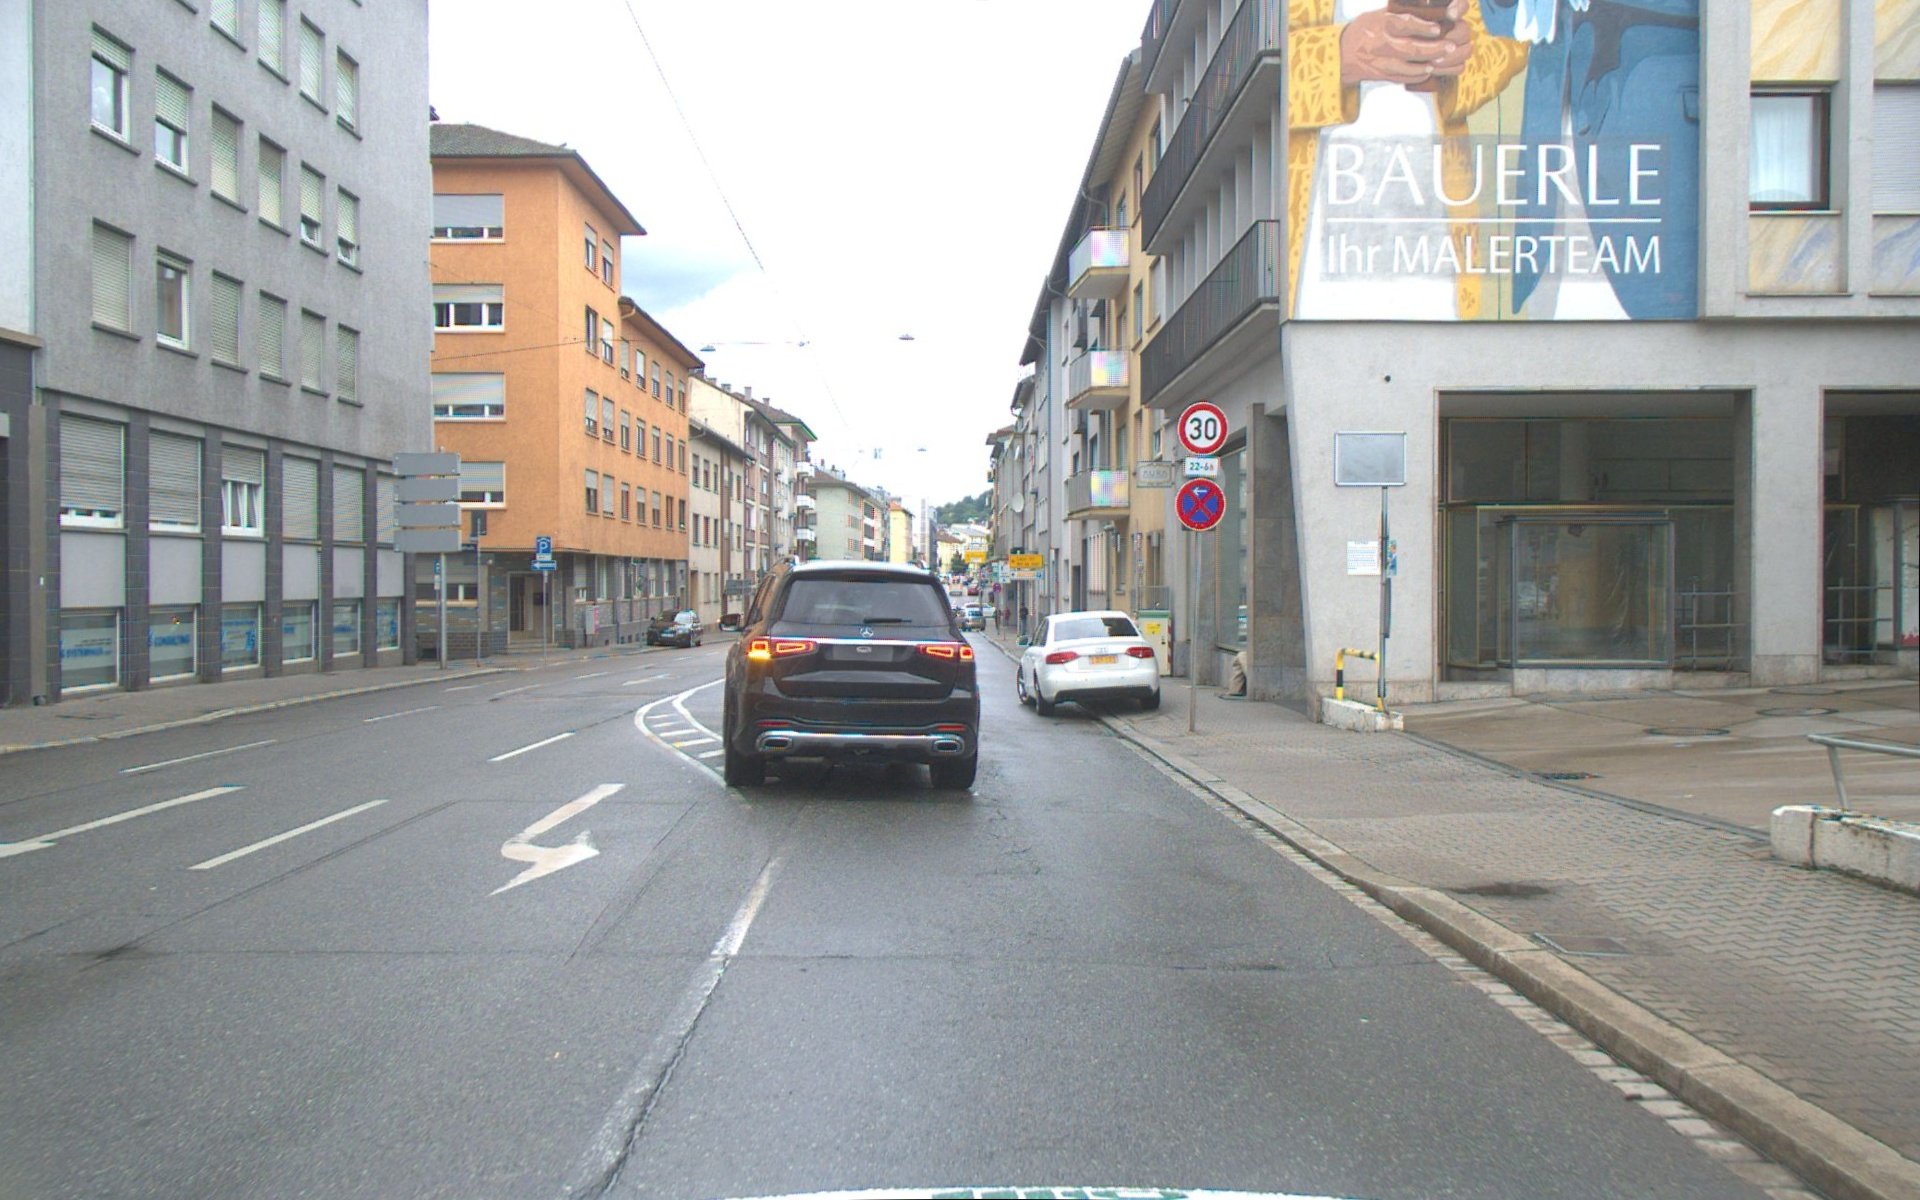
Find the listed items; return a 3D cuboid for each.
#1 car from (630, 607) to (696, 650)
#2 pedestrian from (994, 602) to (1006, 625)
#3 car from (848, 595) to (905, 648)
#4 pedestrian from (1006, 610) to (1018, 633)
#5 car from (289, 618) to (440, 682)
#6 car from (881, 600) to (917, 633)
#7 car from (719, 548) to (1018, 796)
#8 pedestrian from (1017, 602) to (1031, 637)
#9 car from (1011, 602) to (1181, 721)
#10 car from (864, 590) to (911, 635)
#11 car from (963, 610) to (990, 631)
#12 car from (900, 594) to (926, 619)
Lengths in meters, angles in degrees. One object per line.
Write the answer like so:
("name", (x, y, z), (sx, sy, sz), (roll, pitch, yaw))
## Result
("car", (-11.356, 1.065, 63.594), (1.853, 1.484, 4.547), (1, 0, -2))
("pedestrian", (2.802, 0.960, 116.295), (0.804, 1.592, 0.900), (1, 0, 2))
("car", (-3.384, 0.864, 67.860), (1.952, 2.049, 4.001), (1, 0, 2))
("pedestrian", (3.649, 1.529, 116.257), (0.804, 1.592, 0.900), (1, 0, 2))
("car", (-18.564, 1.542, 51.671), (3.906, 1.681, 1.930), (-4, 0, -1))
("car", (-3.869, 1.029, 105.243), (1.952, 2.049, 4.001), (1, 0, 2))
("car", (-0.983, 0.518, 14.415), (2.038, 1.796, 4.600), (1, 0, -10))
("pedestrian", (3.295, 0.984, 85.415), (0.642, 1.782, 0.742), (-2, 0, 4))
("car", (1.924, 0.843, 24.870), (1.856, 1.427, 4.606), (-5, 0, -3))
("car", (-3.475, 0.598, 79.805), (1.952, 2.049, 4.001), (1, 0, 2))
("car", (1.147, 1.440, 116.684), (1.699, 1.412, 4.581), (1, 0, -2))
("car", (-3.911, 0.546, 137.868), (1.952, 2.049, 4.001), (1, 0, 2))
